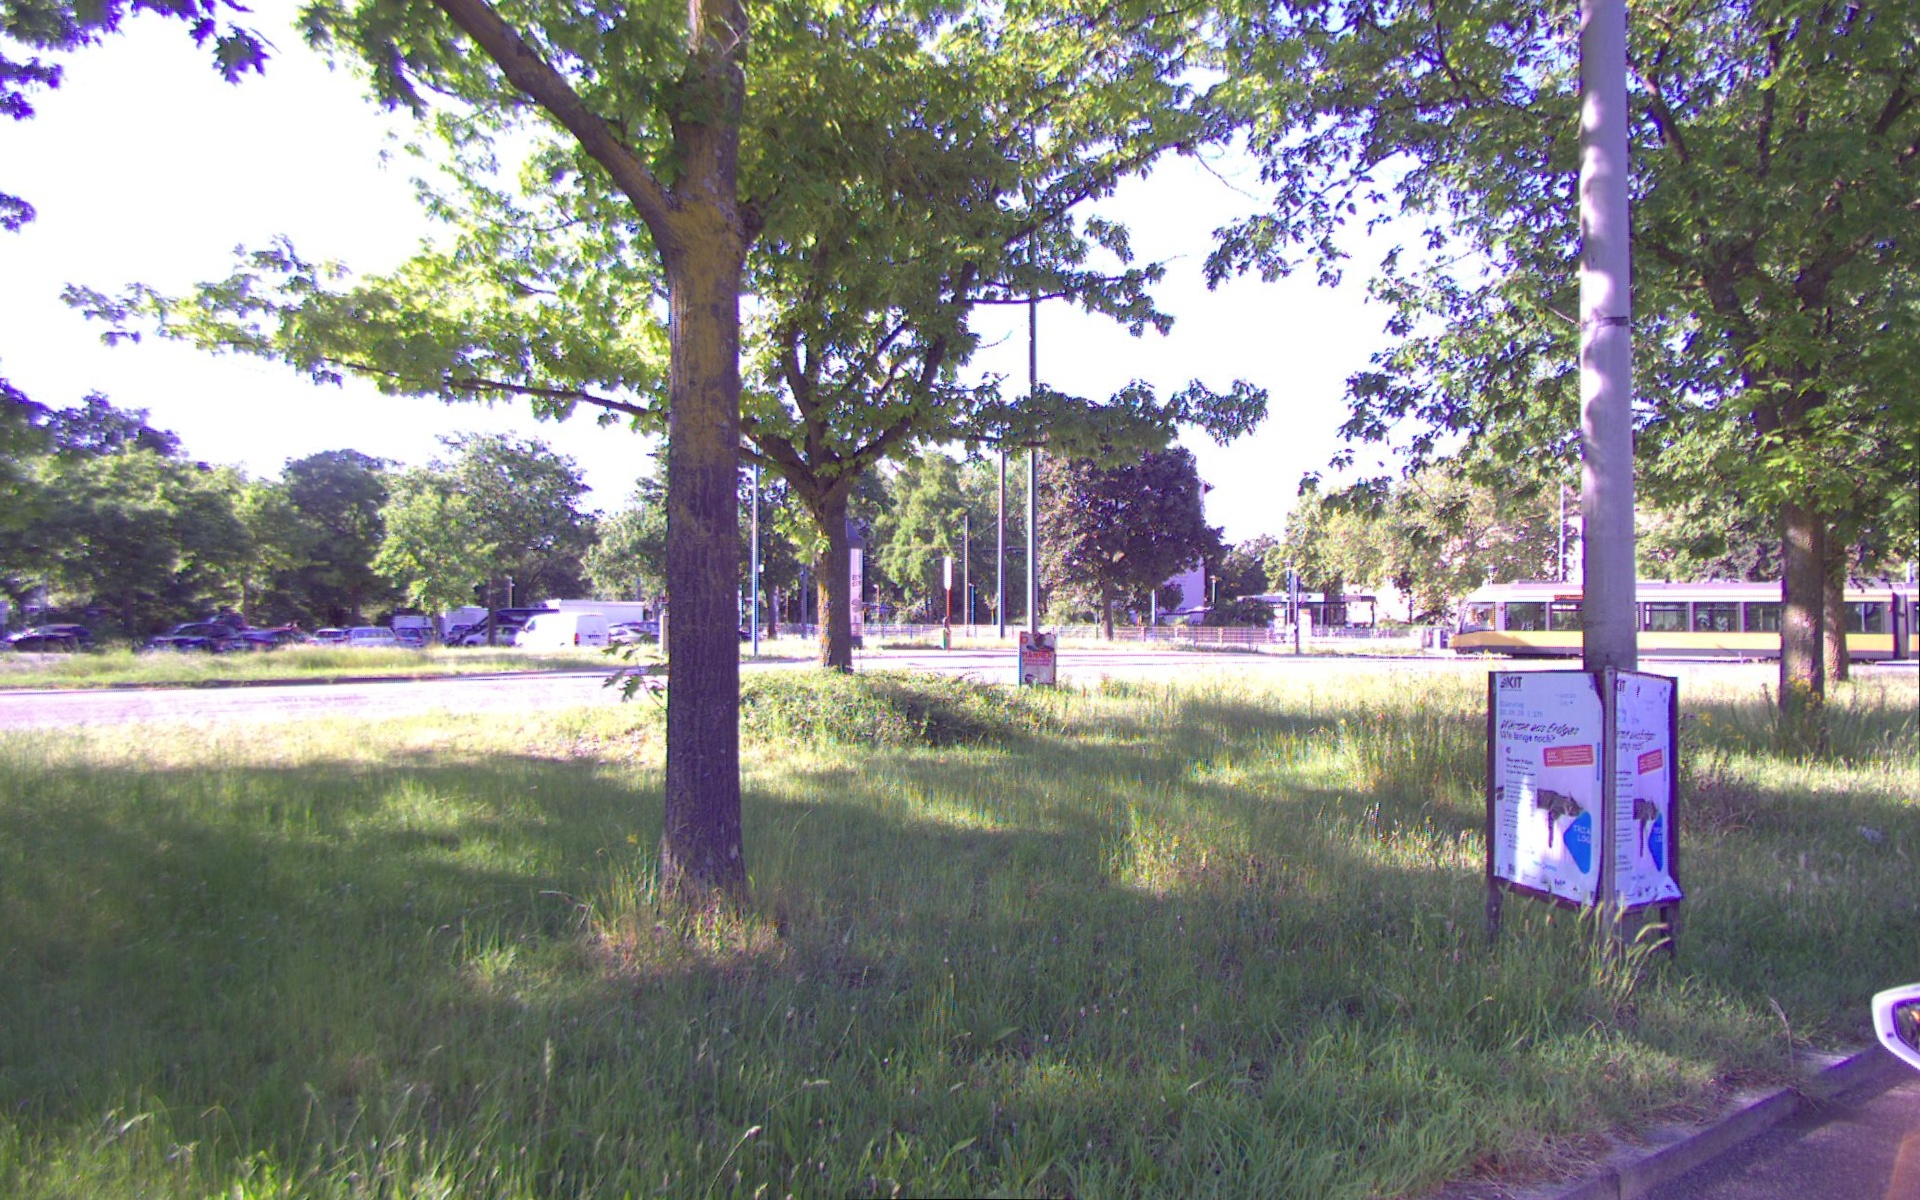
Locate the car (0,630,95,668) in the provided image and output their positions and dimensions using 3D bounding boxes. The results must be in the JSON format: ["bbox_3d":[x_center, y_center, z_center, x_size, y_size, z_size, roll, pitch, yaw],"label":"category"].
[{"bbox_3d":[-47.664,2.505,51.964,1.966,1.817,3.990,0,-1,32],"label":"car"}]

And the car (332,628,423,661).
[{"bbox_3d":[-21.818,1.639,37.637,2.769,1.171,1.326,1,-1,-40],"label":"car"}]

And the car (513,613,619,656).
[{"bbox_3d":[-17.210,1.480,43.803,4.670,1.762,2.024,0,-1,34],"label":"car"}]

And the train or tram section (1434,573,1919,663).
[{"bbox_3d":[31.291,0.748,43.701,19.002,3.559,3.306,0,-1,20],"label":"train or tram section"}]

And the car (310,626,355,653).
[{"bbox_3d":[-29.286,1.831,46.868,1.603,1.194,3.047,1,-1,-35],"label":"car"}]

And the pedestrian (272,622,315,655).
[{"bbox_3d":[-27.165,1.567,40.946,1.130,1.292,1.105,0,-1,33],"label":"pedestrian"}]

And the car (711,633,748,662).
[{"bbox_3d":[-12.023,2.459,52.490,1.589,1.438,3.073,0,-1,-8],"label":"car"}]

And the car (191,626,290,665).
[{"bbox_3d":[-25.226,1.568,35.247,2.769,1.323,1.326,1,-1,-40],"label":"car"}]

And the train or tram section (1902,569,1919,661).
[{"bbox_3d":[49.603,0.633,39.236,20.386,3.820,3.309,0,-1,9],"label":"train or tram section"}]

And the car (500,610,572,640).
[{"bbox_3d":[-24.122,1.419,57.292,3.698,1.691,1.883,1,-1,-23],"label":"car"}]

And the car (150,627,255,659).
[{"bbox_3d":[-26.835,1.509,35.632,1.315,1.078,2.777,-1,-1,42],"label":"car"}]

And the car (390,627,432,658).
[{"bbox_3d":[-26.693,2.035,48.782,1.602,1.438,3.050,1,-1,-33],"label":"car"}]

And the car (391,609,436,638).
[{"bbox_3d":[-32.480,1.372,59.789,1.865,1.691,3.733,1,-1,-22],"label":"car"}]
